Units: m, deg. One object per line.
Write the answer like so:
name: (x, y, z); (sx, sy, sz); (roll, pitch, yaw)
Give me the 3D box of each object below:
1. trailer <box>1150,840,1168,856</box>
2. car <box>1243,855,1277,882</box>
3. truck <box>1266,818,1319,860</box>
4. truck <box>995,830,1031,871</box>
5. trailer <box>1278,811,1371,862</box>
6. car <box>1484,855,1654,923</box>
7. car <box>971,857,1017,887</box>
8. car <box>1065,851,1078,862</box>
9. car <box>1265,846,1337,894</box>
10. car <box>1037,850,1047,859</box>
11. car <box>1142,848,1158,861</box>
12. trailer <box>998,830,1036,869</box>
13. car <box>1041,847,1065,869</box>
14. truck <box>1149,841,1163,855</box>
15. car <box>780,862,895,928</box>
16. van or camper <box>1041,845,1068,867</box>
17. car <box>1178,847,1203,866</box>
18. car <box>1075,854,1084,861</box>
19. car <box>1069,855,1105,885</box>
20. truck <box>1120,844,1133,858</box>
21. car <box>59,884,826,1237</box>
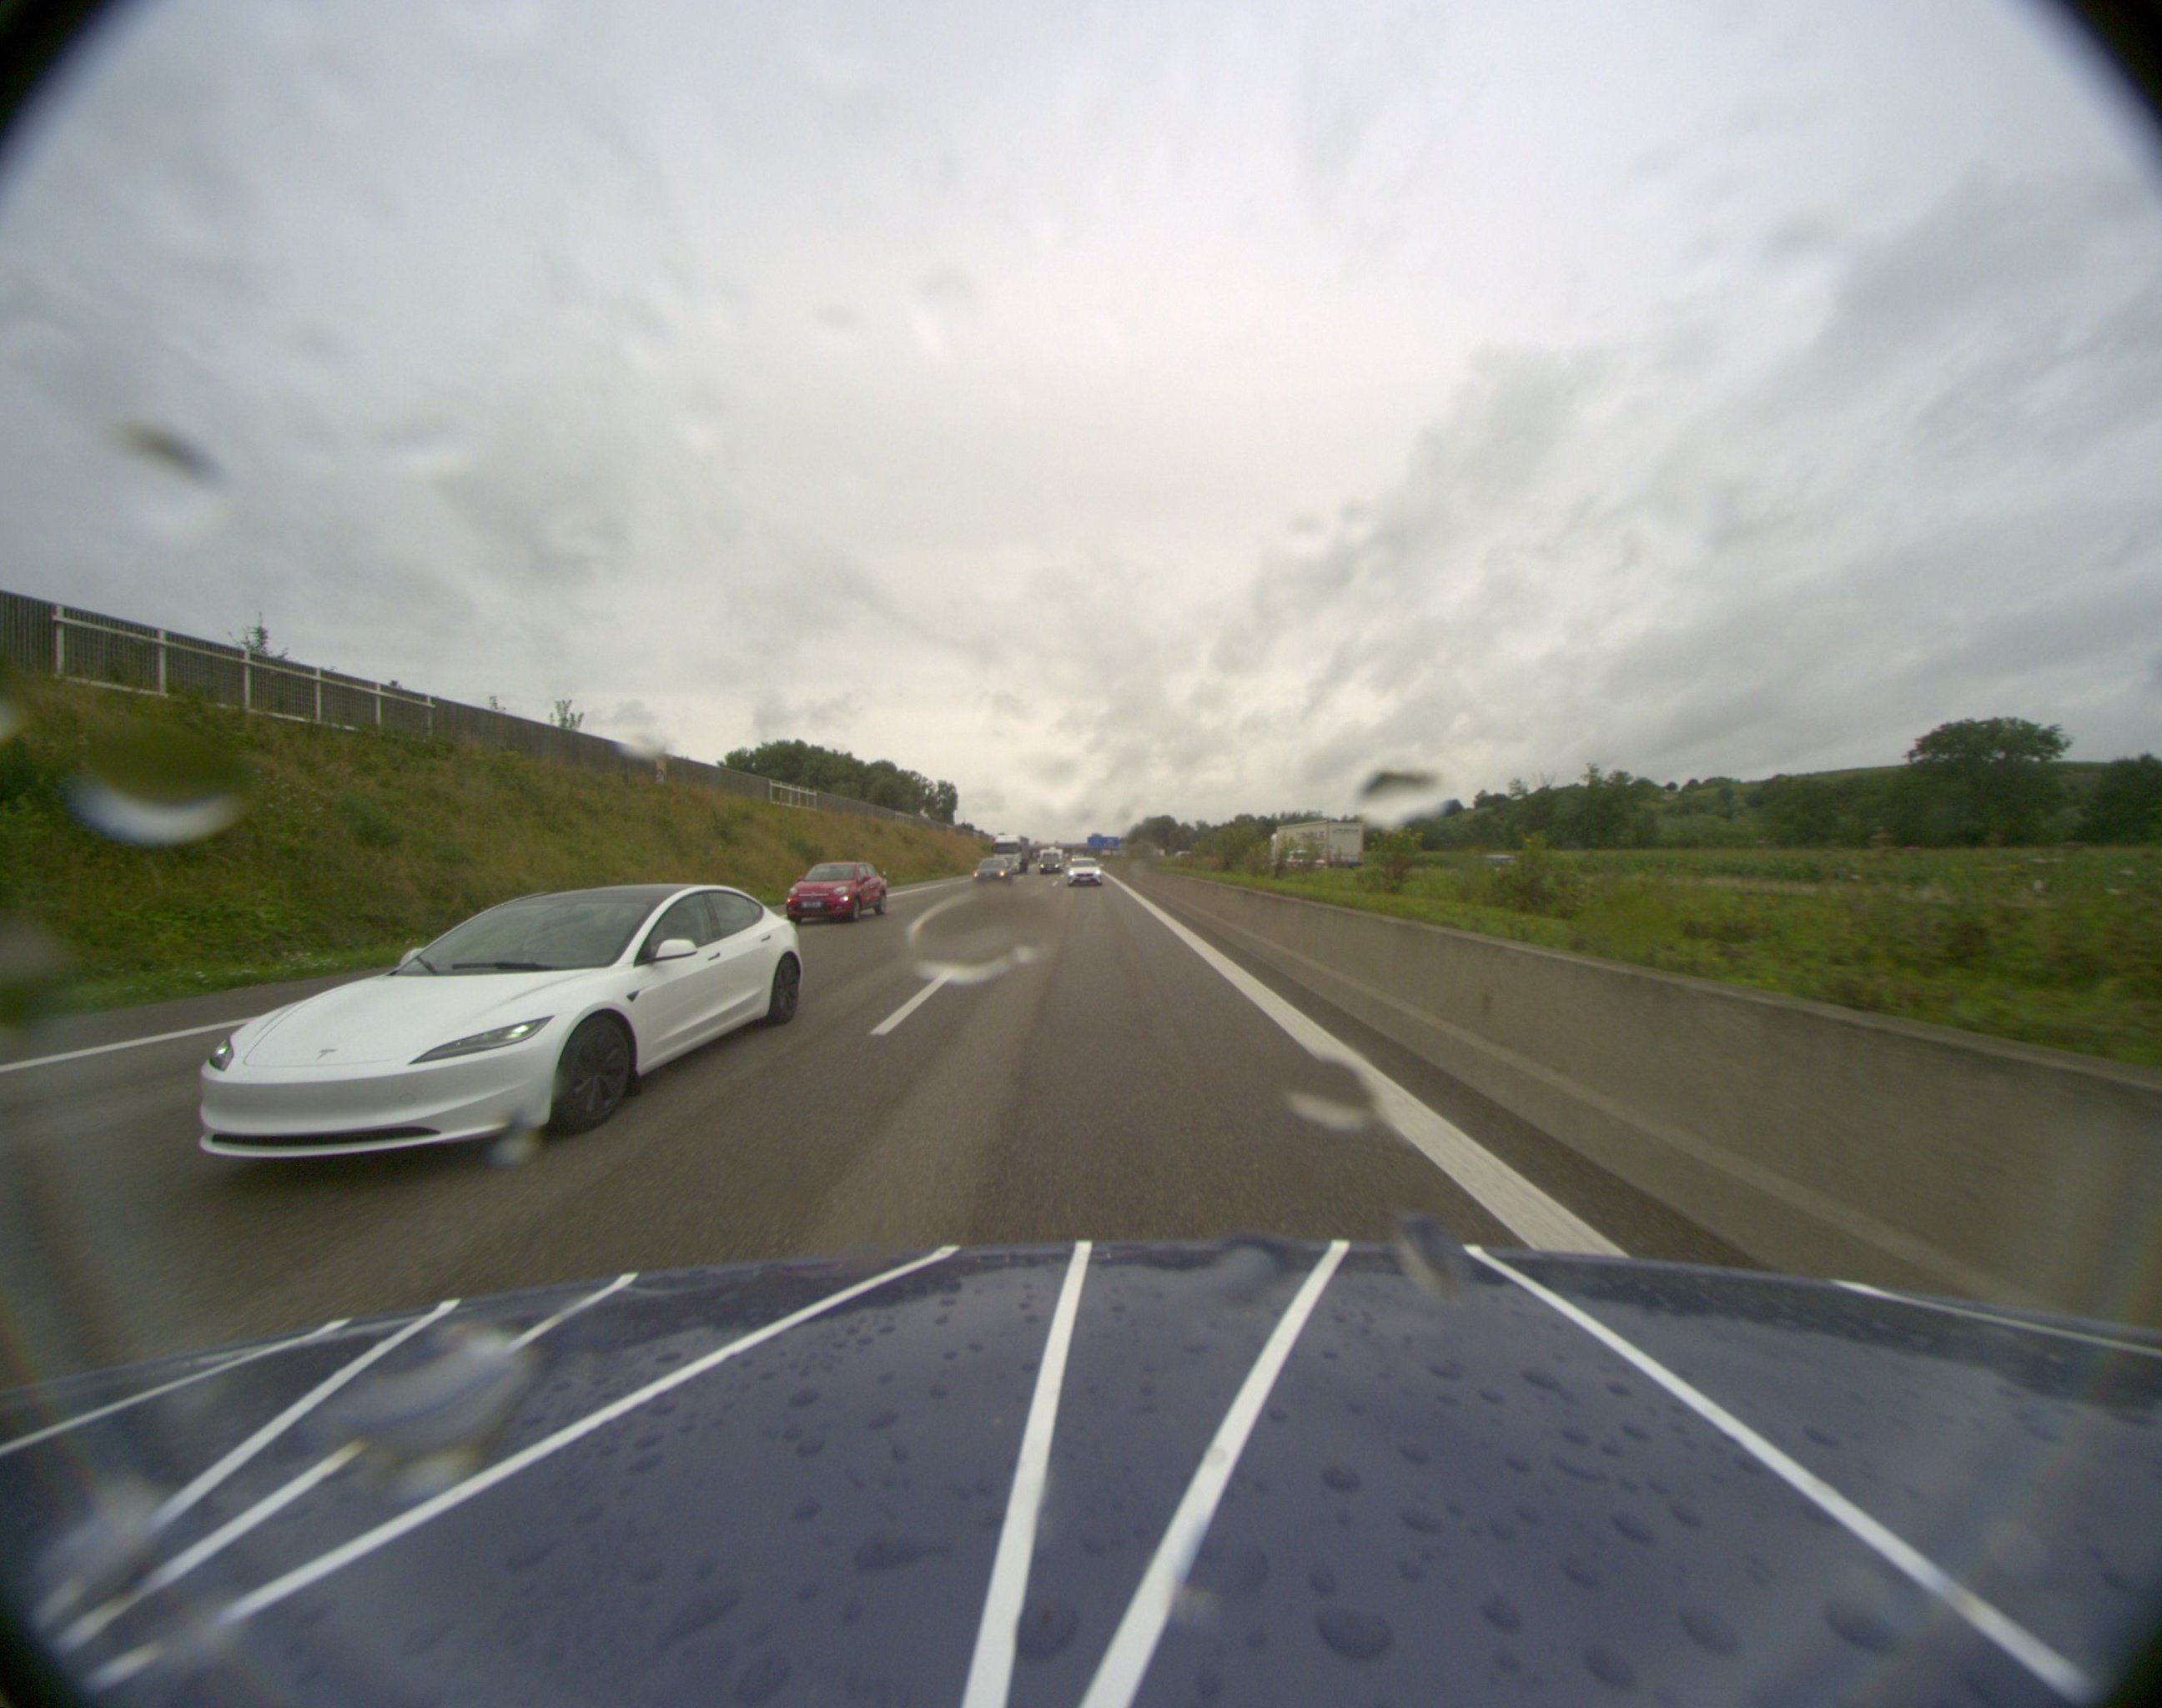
trailer: (17.612, -1.386, 172.279); (2.794, 3.309, 9.925); (-2, 1, -1)
car: (13.973, 1.130, 59.531); (1.796, 2.002, 4.000); (0, 0, 1)
truck: (18.545, -1.318, 67.115); (2.977, 3.409, 5.627); (-2, 1, -1)
truck: (-7.025, -0.369, 79.281); (3.089, 4.003, 6.955); (-2, 1, -1)
trailer: (18.536, -1.296, 59.066); (2.922, 3.409, 13.240); (-2, 1, 0)
car: (13.468, 0.888, 21.356); (1.998, 1.687, 4.348); (1, 0, 1)
car: (-4.885, 0.968, 43.271); (1.929, 1.480, 4.485); (-2, 1, 2)
car: (-1.509, 0.382, 123.062); (1.998, 1.759, 4.000); (0, 0, 0)
car: (9.851, 0.672, 34.406); (1.998, 2.002, 4.348); (1, 0, 1)
car: (-8.405, 0.049, 165.079); (1.999, 2.002, 4.262); (-1, 0, 0)
car: (10.897, 0.072, 120.300); (1.998, 2.002, 5.068); (-2, 0, 0)
trailer: (-7.159, -0.509, 87.626); (3.089, 4.003, 15.219); (-2, 1, -1)
car: (-2.749, 0.378, 75.096); (1.998, 2.002, 4.938); (-2, 1, 2)
truck: (17.518, -1.438, 178.356); (2.763, 3.324, 4.520); (-2, 1, -1)
car: (-6.666, 1.063, 21.275); (1.878, 1.526, 3.999); (-2, 1, -1)
van or camper: (-2.726, 0.157, 80.480); (2.432, 2.139, 6.498); (-2, 1, 1)
car: (11.009, 0.267, 76.742); (1.824, 1.827, 4.800); (0, 0, 1)
car: (-0.414, 0.900, 196.273); (1.999, 1.696, 4.483); (-2, 0, -2)
car: (0.364, 0.819, 41.414); (1.840, 1.455, 4.000); (-2, 1, 2)
truck: (15.847, -1.117, 264.725); (3.333, 4.317, 16.897); (-2, 1, -1)
car: (-3.801, 1.068, 5.973); (1.878, 1.355, 4.812); (-2, 1, 0)
